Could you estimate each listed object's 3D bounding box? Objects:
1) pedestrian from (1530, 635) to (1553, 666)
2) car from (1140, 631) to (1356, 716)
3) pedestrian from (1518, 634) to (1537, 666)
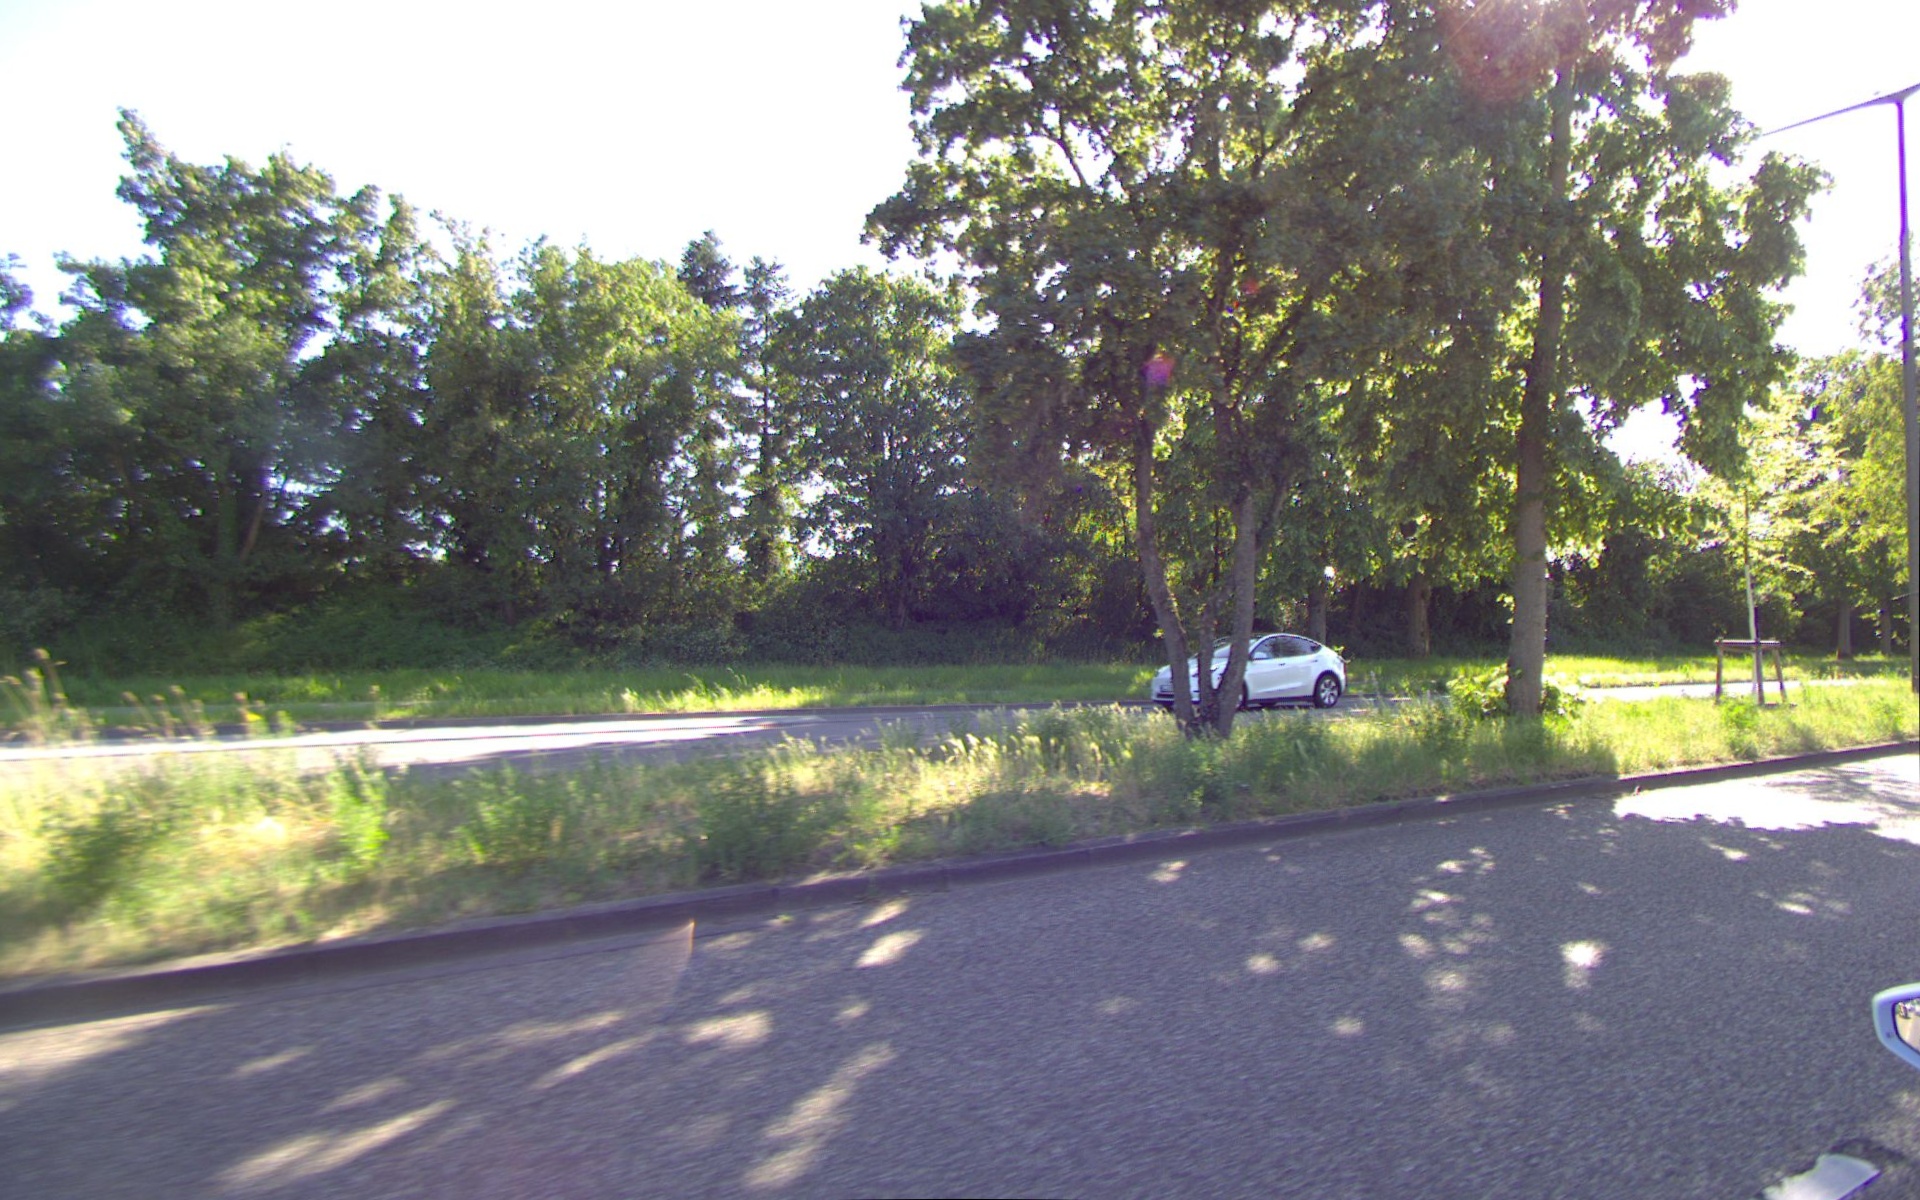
[{"bbox_3d":[27.303,2.364,47.169,0.906,1.479,0.542,1,-2,-30],"label":"pedestrian"},{"bbox_3d":[6.249,1.562,21.654,4.534,1.609,1.832,1,-7,-32],"label":"car"},{"bbox_3d":[26.937,2.376,47.704,0.589,1.479,0.542,1,-2,-30],"label":"pedestrian"}]
